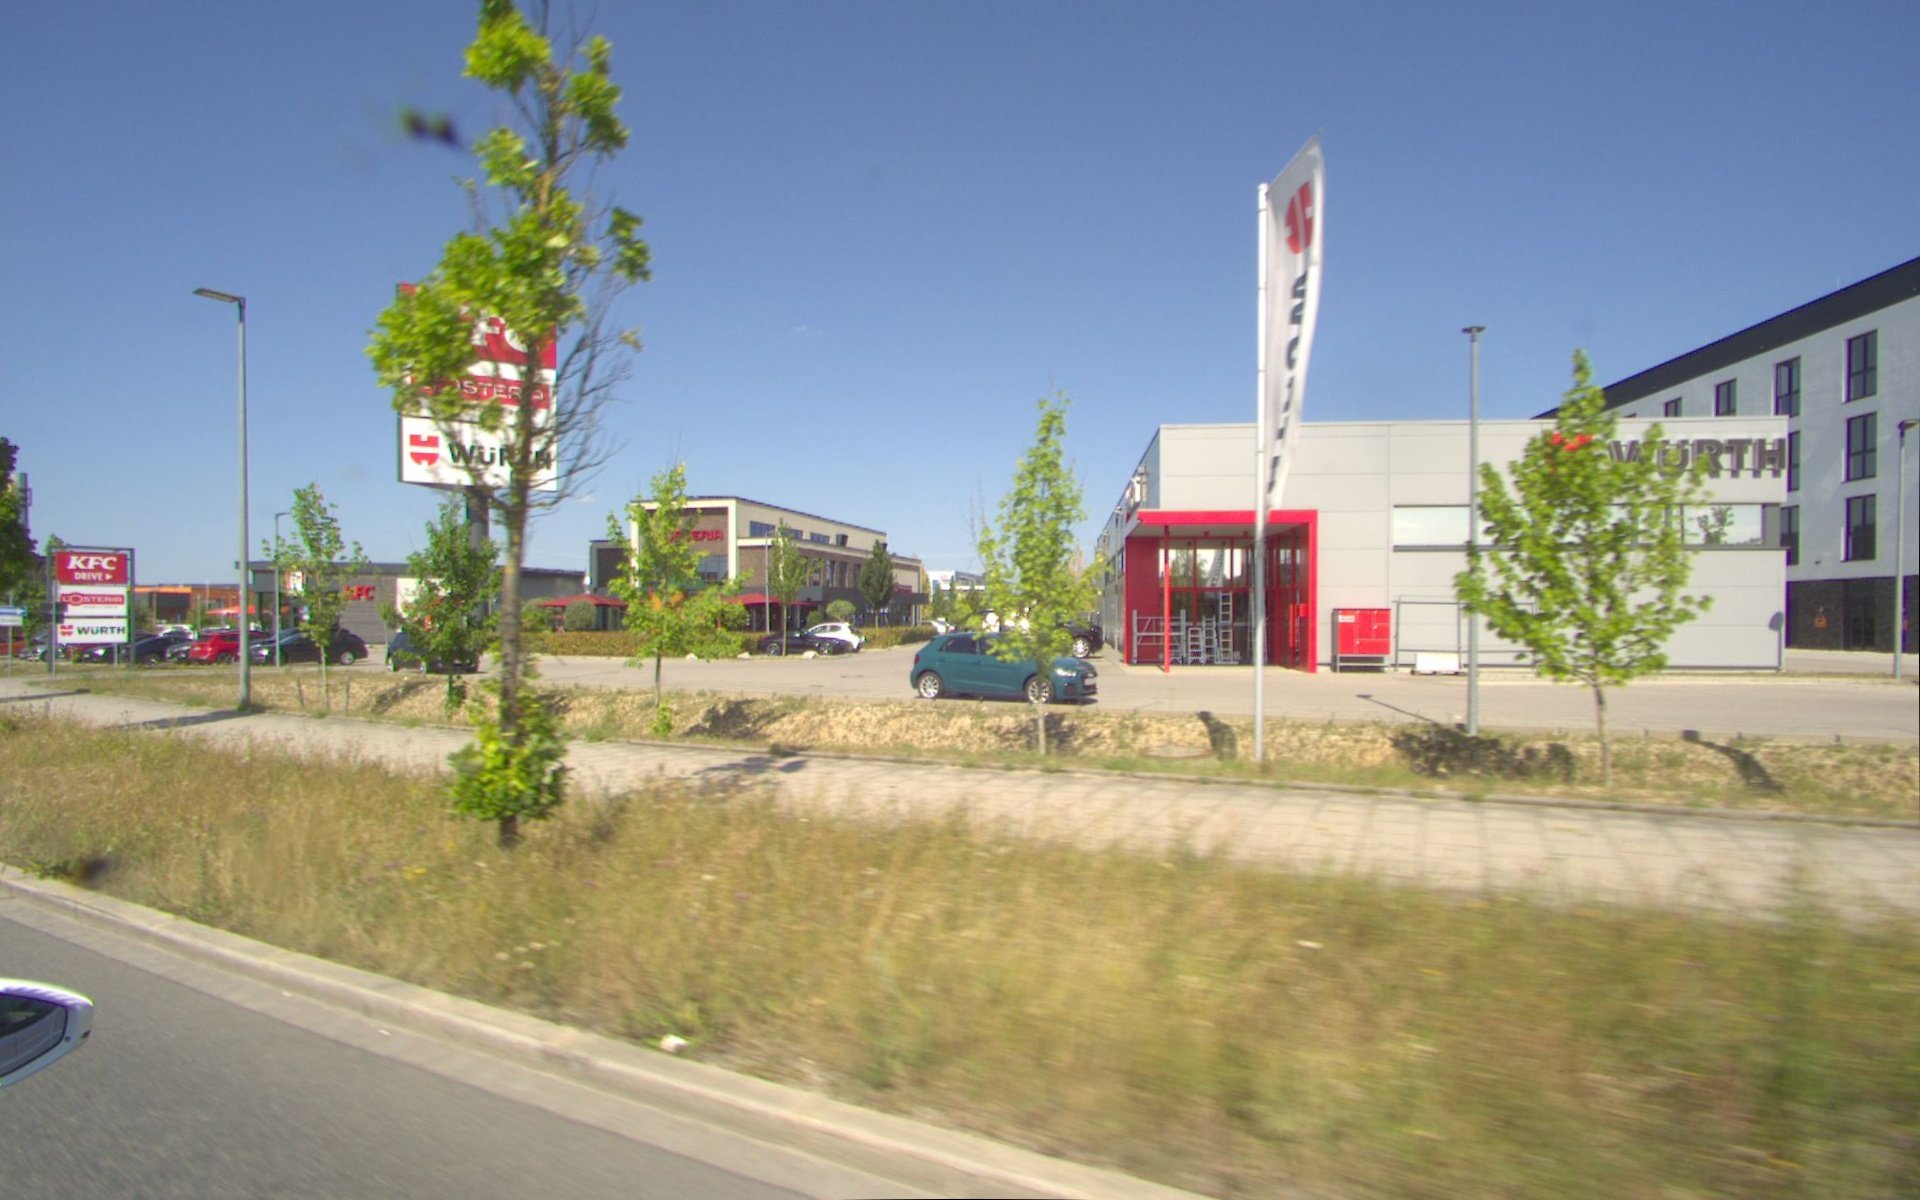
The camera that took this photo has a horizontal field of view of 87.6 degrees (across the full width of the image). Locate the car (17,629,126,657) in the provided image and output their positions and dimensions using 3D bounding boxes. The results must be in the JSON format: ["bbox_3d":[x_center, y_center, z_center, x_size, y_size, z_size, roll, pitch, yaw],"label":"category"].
[{"bbox_3d":[-53.169,2.553,60.034,1.839,1.510,4.554,0,0,26],"label":"car"}]

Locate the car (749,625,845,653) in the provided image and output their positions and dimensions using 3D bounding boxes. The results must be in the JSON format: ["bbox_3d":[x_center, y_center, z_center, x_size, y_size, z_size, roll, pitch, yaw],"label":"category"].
[{"bbox_3d":[-7.373,1.778,45.545,4.055,1.228,1.654,0,-1,4],"label":"car"}]

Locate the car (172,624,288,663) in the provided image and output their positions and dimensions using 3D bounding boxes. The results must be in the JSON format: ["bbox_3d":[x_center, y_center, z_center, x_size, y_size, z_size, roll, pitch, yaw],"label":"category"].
[{"bbox_3d":[-36.765,2.147,50.560,1.766,1.757,4.396,0,0,33],"label":"car"}]

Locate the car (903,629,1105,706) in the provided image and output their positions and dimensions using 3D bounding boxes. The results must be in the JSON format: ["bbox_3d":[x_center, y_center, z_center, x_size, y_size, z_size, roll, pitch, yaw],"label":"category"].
[{"bbox_3d":[0.875,1.331,20.737,3.941,1.426,1.511,-1,-1,31],"label":"car"}]

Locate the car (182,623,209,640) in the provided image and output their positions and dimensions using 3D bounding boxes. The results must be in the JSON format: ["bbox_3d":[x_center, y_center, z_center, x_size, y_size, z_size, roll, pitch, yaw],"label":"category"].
[{"bbox_3d":[-78.611,3.231,103.038,1.766,1.780,4.146,0,-1,-32],"label":"car"}]

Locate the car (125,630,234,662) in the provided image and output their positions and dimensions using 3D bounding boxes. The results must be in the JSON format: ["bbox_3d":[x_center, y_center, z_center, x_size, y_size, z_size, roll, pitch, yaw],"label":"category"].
[{"bbox_3d":[-40.445,2.362,51.998,4.368,1.468,1.777,0,0,-38],"label":"car"}]

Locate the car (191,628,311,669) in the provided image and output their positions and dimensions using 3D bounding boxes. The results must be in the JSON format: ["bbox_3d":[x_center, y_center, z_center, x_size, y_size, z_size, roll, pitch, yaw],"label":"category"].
[{"bbox_3d":[-34.164,2.296,48.358,1.767,1.757,4.394,0,0,34],"label":"car"}]

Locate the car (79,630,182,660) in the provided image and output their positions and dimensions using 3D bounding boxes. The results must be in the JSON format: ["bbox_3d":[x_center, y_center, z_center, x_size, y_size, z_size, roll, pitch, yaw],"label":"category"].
[{"bbox_3d":[-46.914,2.517,56.738,1.761,1.468,4.155,0,0,24],"label":"car"}]

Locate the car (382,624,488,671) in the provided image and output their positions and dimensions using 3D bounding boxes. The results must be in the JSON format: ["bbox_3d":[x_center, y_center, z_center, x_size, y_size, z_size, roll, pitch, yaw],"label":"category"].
[{"bbox_3d":[-18.479,1.646,35.194,4.116,1.560,1.774,-1,-1,37],"label":"car"}]

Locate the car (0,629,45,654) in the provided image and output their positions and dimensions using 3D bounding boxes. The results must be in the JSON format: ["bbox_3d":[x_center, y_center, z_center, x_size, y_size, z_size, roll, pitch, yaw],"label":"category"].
[{"bbox_3d":[-61.944,2.673,64.427,1.837,1.510,4.207,0,0,22],"label":"car"}]

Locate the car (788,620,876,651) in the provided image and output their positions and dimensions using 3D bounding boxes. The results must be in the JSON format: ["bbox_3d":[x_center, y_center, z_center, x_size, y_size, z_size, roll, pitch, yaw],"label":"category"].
[{"bbox_3d":[-6.387,1.786,50.283,4.150,1.490,1.702,0,-1,4],"label":"car"}]

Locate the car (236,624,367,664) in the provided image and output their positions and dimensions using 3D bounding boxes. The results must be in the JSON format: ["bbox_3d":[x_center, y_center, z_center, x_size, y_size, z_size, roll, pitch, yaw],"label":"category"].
[{"bbox_3d":[-28.757,1.881,43.846,1.966,1.587,4.398,0,0,31],"label":"car"}]

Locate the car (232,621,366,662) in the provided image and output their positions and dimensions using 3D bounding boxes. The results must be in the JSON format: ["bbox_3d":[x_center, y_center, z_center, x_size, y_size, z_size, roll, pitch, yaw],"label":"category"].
[{"bbox_3d":[-31.205,1.927,47.452,1.911,1.757,4.973,0,0,31],"label":"car"}]

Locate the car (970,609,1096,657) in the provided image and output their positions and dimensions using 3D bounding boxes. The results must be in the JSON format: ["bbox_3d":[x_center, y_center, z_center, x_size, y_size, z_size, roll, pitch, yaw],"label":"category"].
[{"bbox_3d":[2.889,1.278,39.324,4.829,1.839,2.049,0,-1,7],"label":"car"}]

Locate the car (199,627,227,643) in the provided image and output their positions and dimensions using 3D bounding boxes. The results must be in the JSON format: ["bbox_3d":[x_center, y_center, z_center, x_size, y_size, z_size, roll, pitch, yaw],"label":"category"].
[{"bbox_3d":[-71.563,3.292,96.022,1.767,1.469,4.146,0,-1,-32],"label":"car"}]

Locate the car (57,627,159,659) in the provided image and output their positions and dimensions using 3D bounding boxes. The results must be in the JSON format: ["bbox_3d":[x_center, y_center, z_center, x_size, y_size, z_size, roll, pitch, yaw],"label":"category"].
[{"bbox_3d":[-49.115,2.425,57.802,1.840,1.687,4.148,0,0,29],"label":"car"}]
